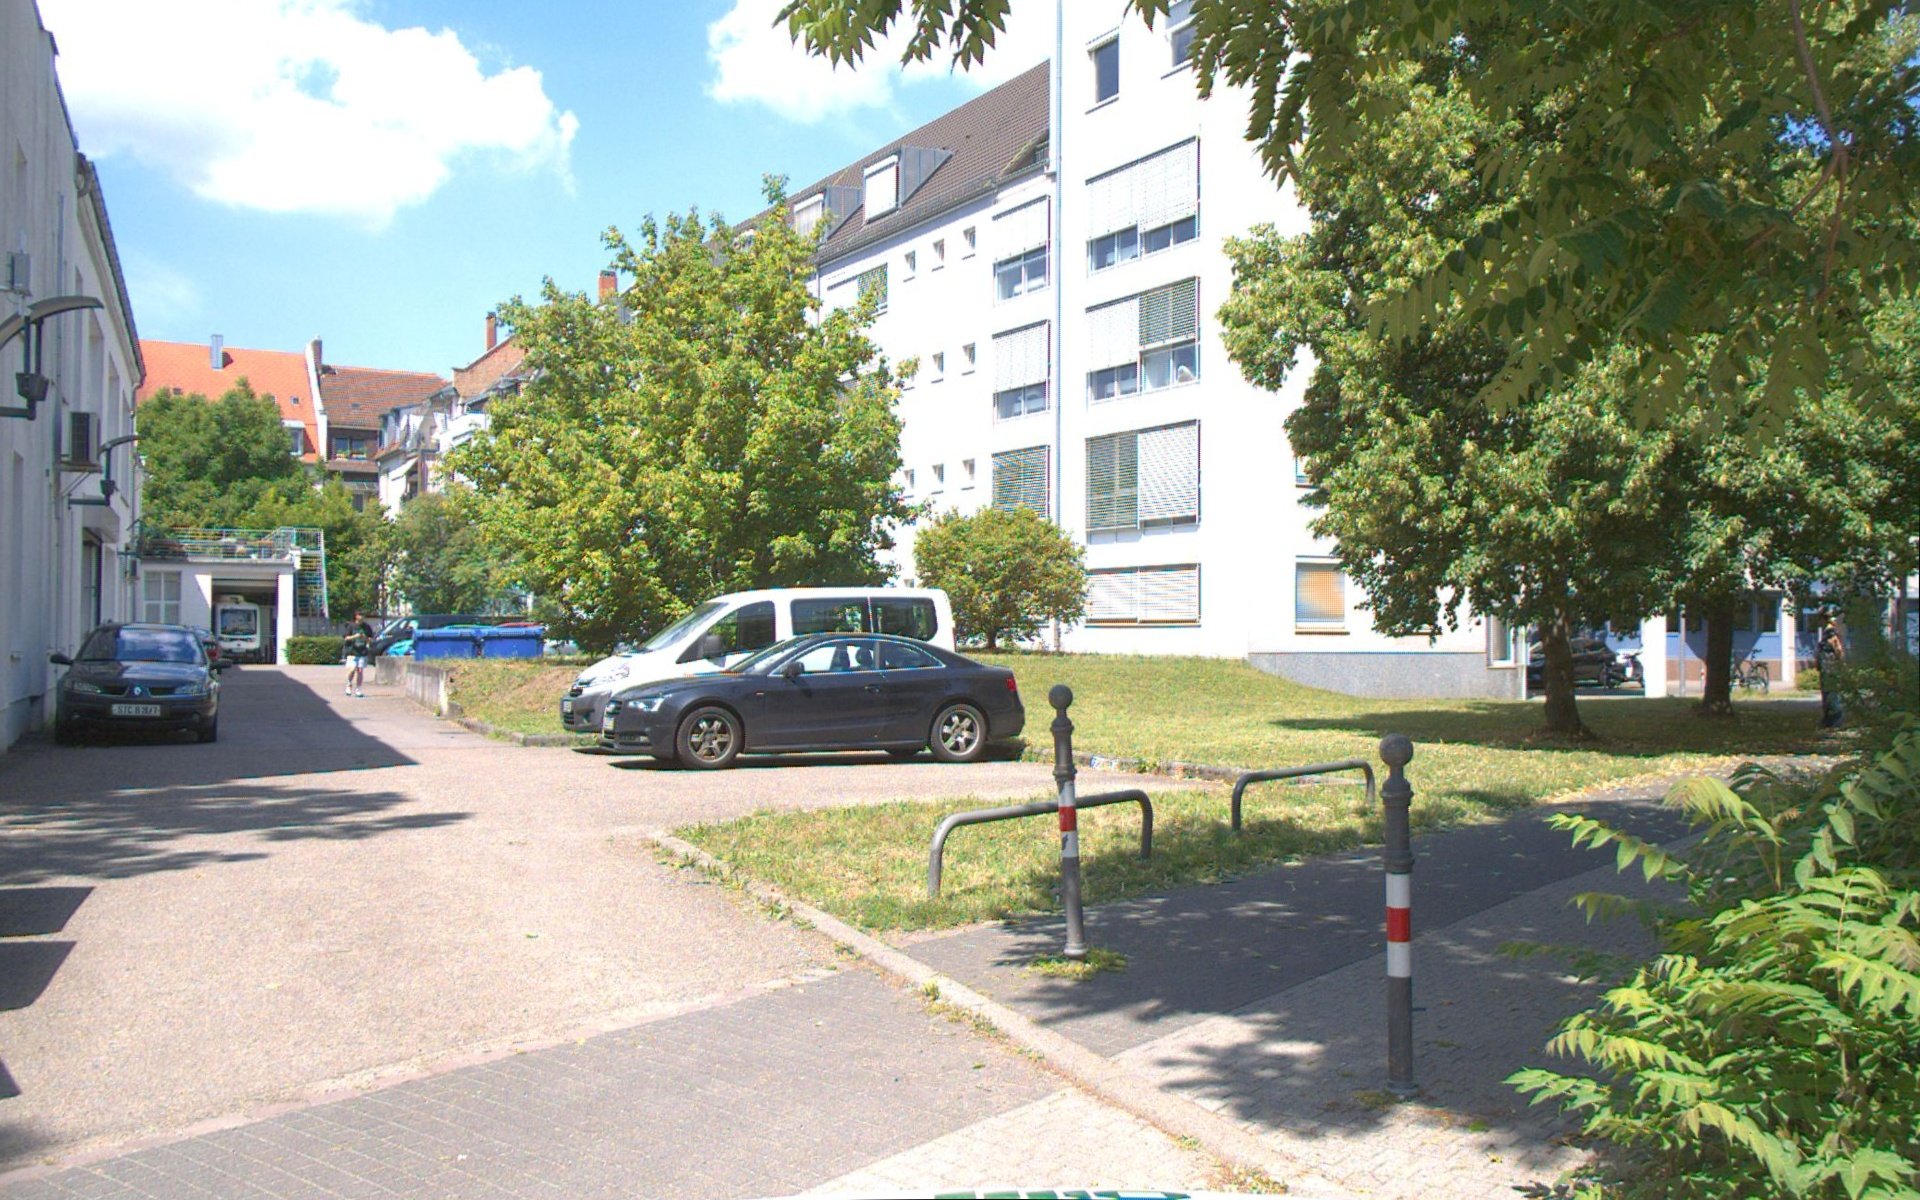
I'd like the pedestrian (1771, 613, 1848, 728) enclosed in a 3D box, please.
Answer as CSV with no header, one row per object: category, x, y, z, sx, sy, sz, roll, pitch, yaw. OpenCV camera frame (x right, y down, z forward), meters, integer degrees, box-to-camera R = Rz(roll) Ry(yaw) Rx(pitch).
pedestrian,12.089,0.984,23.540,0.741,1.591,0.732,1,-1,-35

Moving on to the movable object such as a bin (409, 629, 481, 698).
movable object such as a bin,-10.455,1.270,33.553,1.320,1.350,1.152,0,-1,-23

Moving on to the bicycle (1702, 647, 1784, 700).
bicycle,17.114,1.592,36.137,1.910,1.103,0.596,1,-1,-27

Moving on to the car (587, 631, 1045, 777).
car,-1.516,1.029,17.648,4.553,1.376,1.819,1,-1,-25

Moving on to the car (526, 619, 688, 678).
car,-9.437,1.283,44.221,3.939,1.504,1.789,1,-1,-27

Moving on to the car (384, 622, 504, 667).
car,-18.574,1.575,59.558,3.939,1.561,1.789,0,-1,-27

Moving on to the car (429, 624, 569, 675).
car,-14.230,1.497,51.058,3.939,1.504,1.789,0,-1,-27

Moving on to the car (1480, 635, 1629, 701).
car,15.561,1.743,43.301,3.571,1.649,1.660,1,-1,-25

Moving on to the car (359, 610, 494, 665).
car,-20.050,1.379,62.199,4.622,1.992,2.058,0,-1,-27

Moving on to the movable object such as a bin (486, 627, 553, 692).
movable object such as a bin,-9.542,1.271,35.827,1.202,1.350,1.150,0,-1,-27

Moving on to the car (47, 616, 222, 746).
car,-10.355,0.940,21.004,1.731,1.455,4.354,1,-1,-24

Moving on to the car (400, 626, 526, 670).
car,-17.117,1.633,56.977,3.939,1.414,1.789,0,-1,-27

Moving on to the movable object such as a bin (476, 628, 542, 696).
movable object such as a bin,-9.309,1.264,34.125,1.199,1.350,1.152,0,-1,-23

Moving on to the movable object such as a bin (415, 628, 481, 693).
movable object such as a bin,-10.912,1.277,35.241,1.178,1.350,1.150,0,-1,-27

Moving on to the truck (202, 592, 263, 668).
truck,-29.755,1.234,67.569,1.769,2.989,4.606,1,-1,-30

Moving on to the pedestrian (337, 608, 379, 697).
pedestrian,-12.312,1.066,33.810,0.747,1.786,0.746,1,-1,-24

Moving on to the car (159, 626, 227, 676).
car,-23.117,1.508,49.826,1.776,1.414,3.967,0,-1,-25

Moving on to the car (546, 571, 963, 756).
car,-2.495,0.744,20.214,4.699,2.049,1.984,1,-2,-25
